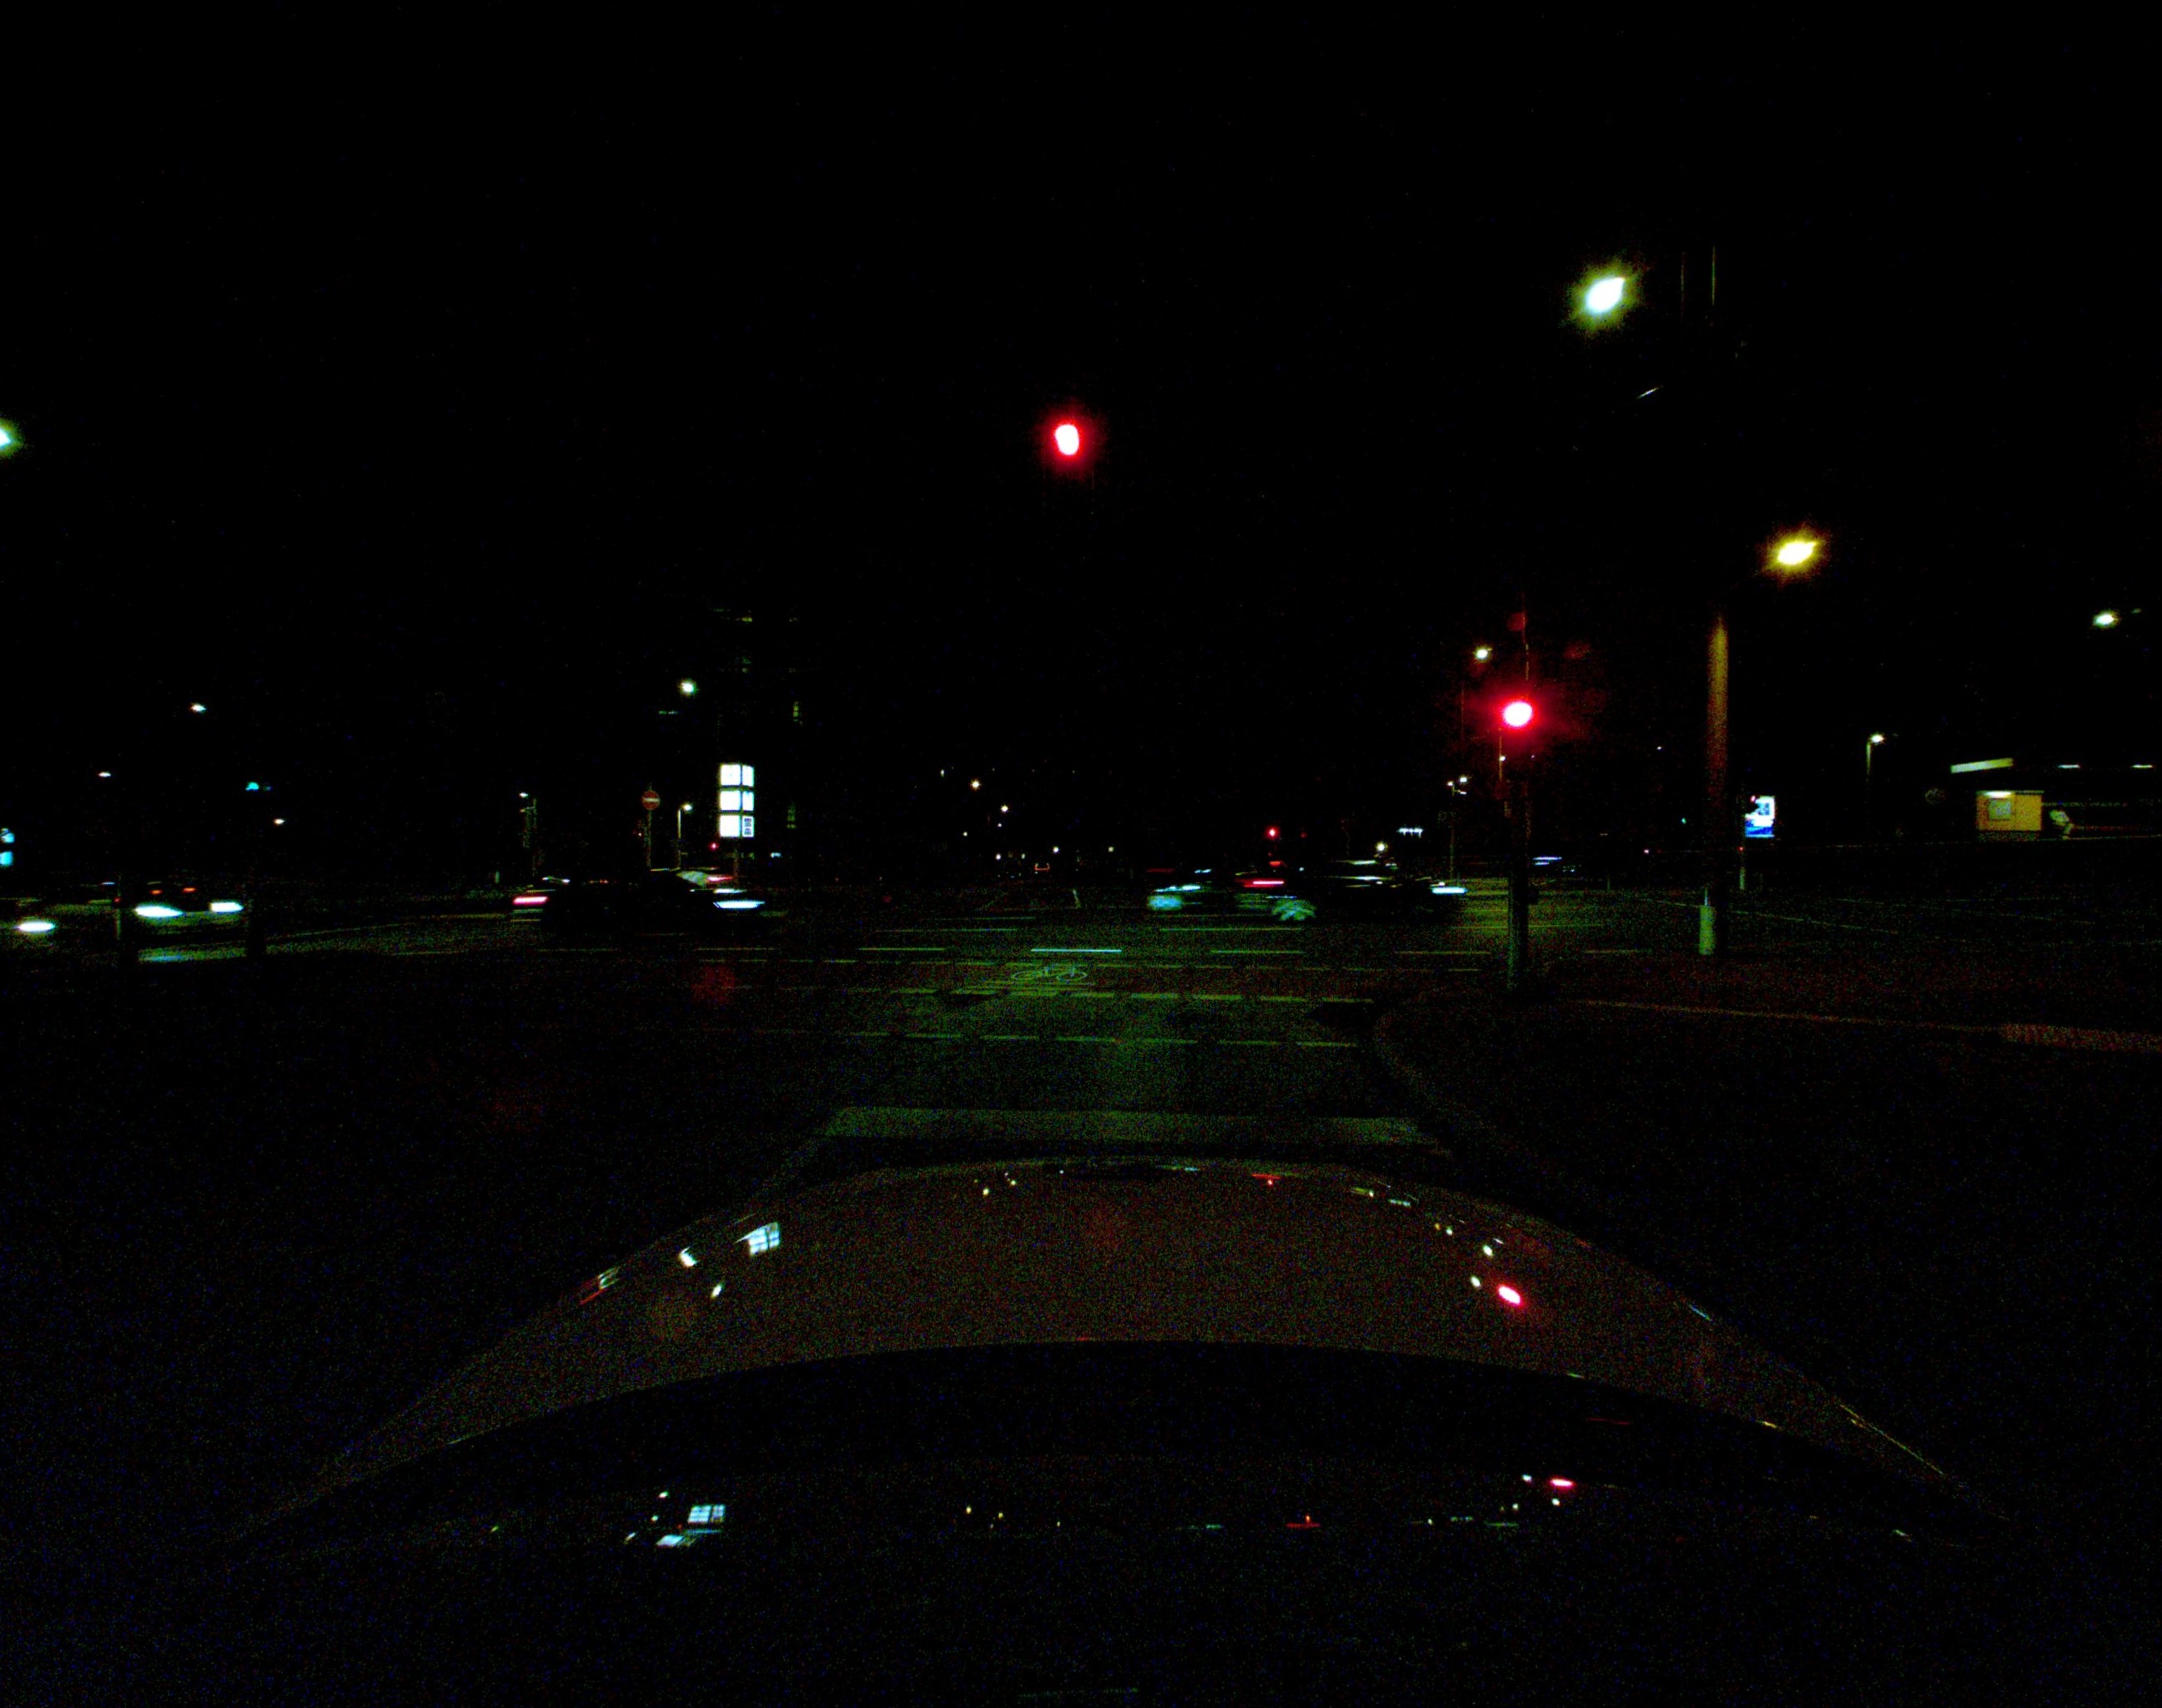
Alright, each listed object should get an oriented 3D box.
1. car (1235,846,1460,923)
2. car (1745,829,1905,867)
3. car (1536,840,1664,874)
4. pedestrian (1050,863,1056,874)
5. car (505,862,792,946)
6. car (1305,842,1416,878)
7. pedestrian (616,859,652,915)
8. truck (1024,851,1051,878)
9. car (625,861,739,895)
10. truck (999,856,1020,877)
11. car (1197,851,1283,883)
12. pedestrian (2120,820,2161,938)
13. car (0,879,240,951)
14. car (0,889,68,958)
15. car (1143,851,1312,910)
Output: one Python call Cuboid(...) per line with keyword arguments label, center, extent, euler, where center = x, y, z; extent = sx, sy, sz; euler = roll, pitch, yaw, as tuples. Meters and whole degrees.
Cuboid(label="car", center=(5.895, 0.656, 18.462), extent=(4.549, 1.419, 1.748), euler=(-2, 2, 5))
Cuboid(label="car", center=(31.609, -0.228, 34.712), extent=(4.917, 1.420, 1.854), euler=(-2, -1, 5))
Cuboid(label="car", center=(24.587, 0.144, 38.728), extent=(4.795, 1.420, 1.854), euler=(-2, -1, 5))
Cuboid(label="pedestrian", center=(-5.122, 2.673, 147.898), extent=(0.851, 1.912, 1.001), euler=(0, -1, -16))
Cuboid(label="car", center=(-8.610, 0.972, 16.443), extent=(4.897, 1.473, 1.747), euler=(-1, 0, 5))
Cuboid(label="car", center=(12.469, 0.286, 36.568), extent=(4.406, 1.420, 1.854), euler=(-2, -1, 5))
Cuboid(label="pedestrian", center=(-14.039, 1.040, 25.592), extent=(0.671, 1.722, 0.710), euler=(-1, -2, 27))
Cuboid(label="truck", center=(-7.995, 1.944, 149.253), extent=(3.366, 4.843, 7.865), euler=(0, -1, -14))
Cuboid(label="car", center=(-19.251, 1.138, 39.406), extent=(4.551, 1.585, 1.848), euler=(0, 1, 3))
Cuboid(label="truck", center=(-10.547, 1.892, 120.128), extent=(2.419, 3.089, 6.412), euler=(0, -1, -11))
Cuboid(label="car", center=(7.727, 0.649, 39.792), extent=(3.857, 1.405, 1.769), euler=(-2, -1, 1))
Cuboid(label="pedestrian", center=(15.783, 0.322, 11.635), extent=(0.870, 1.656, 0.843), euler=(-7, -5, 42))
Cuboid(label="car", center=(-25.247, 1.573, 21.298), extent=(4.897, 1.598, 1.747), euler=(-2, 0, 5))
Cuboid(label="car", center=(-25.406, 1.586, 18.074), extent=(3.883, 1.437, 1.747), euler=(-1, 0, 5))
Cuboid(label="car", center=(3.850, 0.687, 21.643), extent=(4.224, 1.420, 1.750), euler=(-1, 2, 9))
